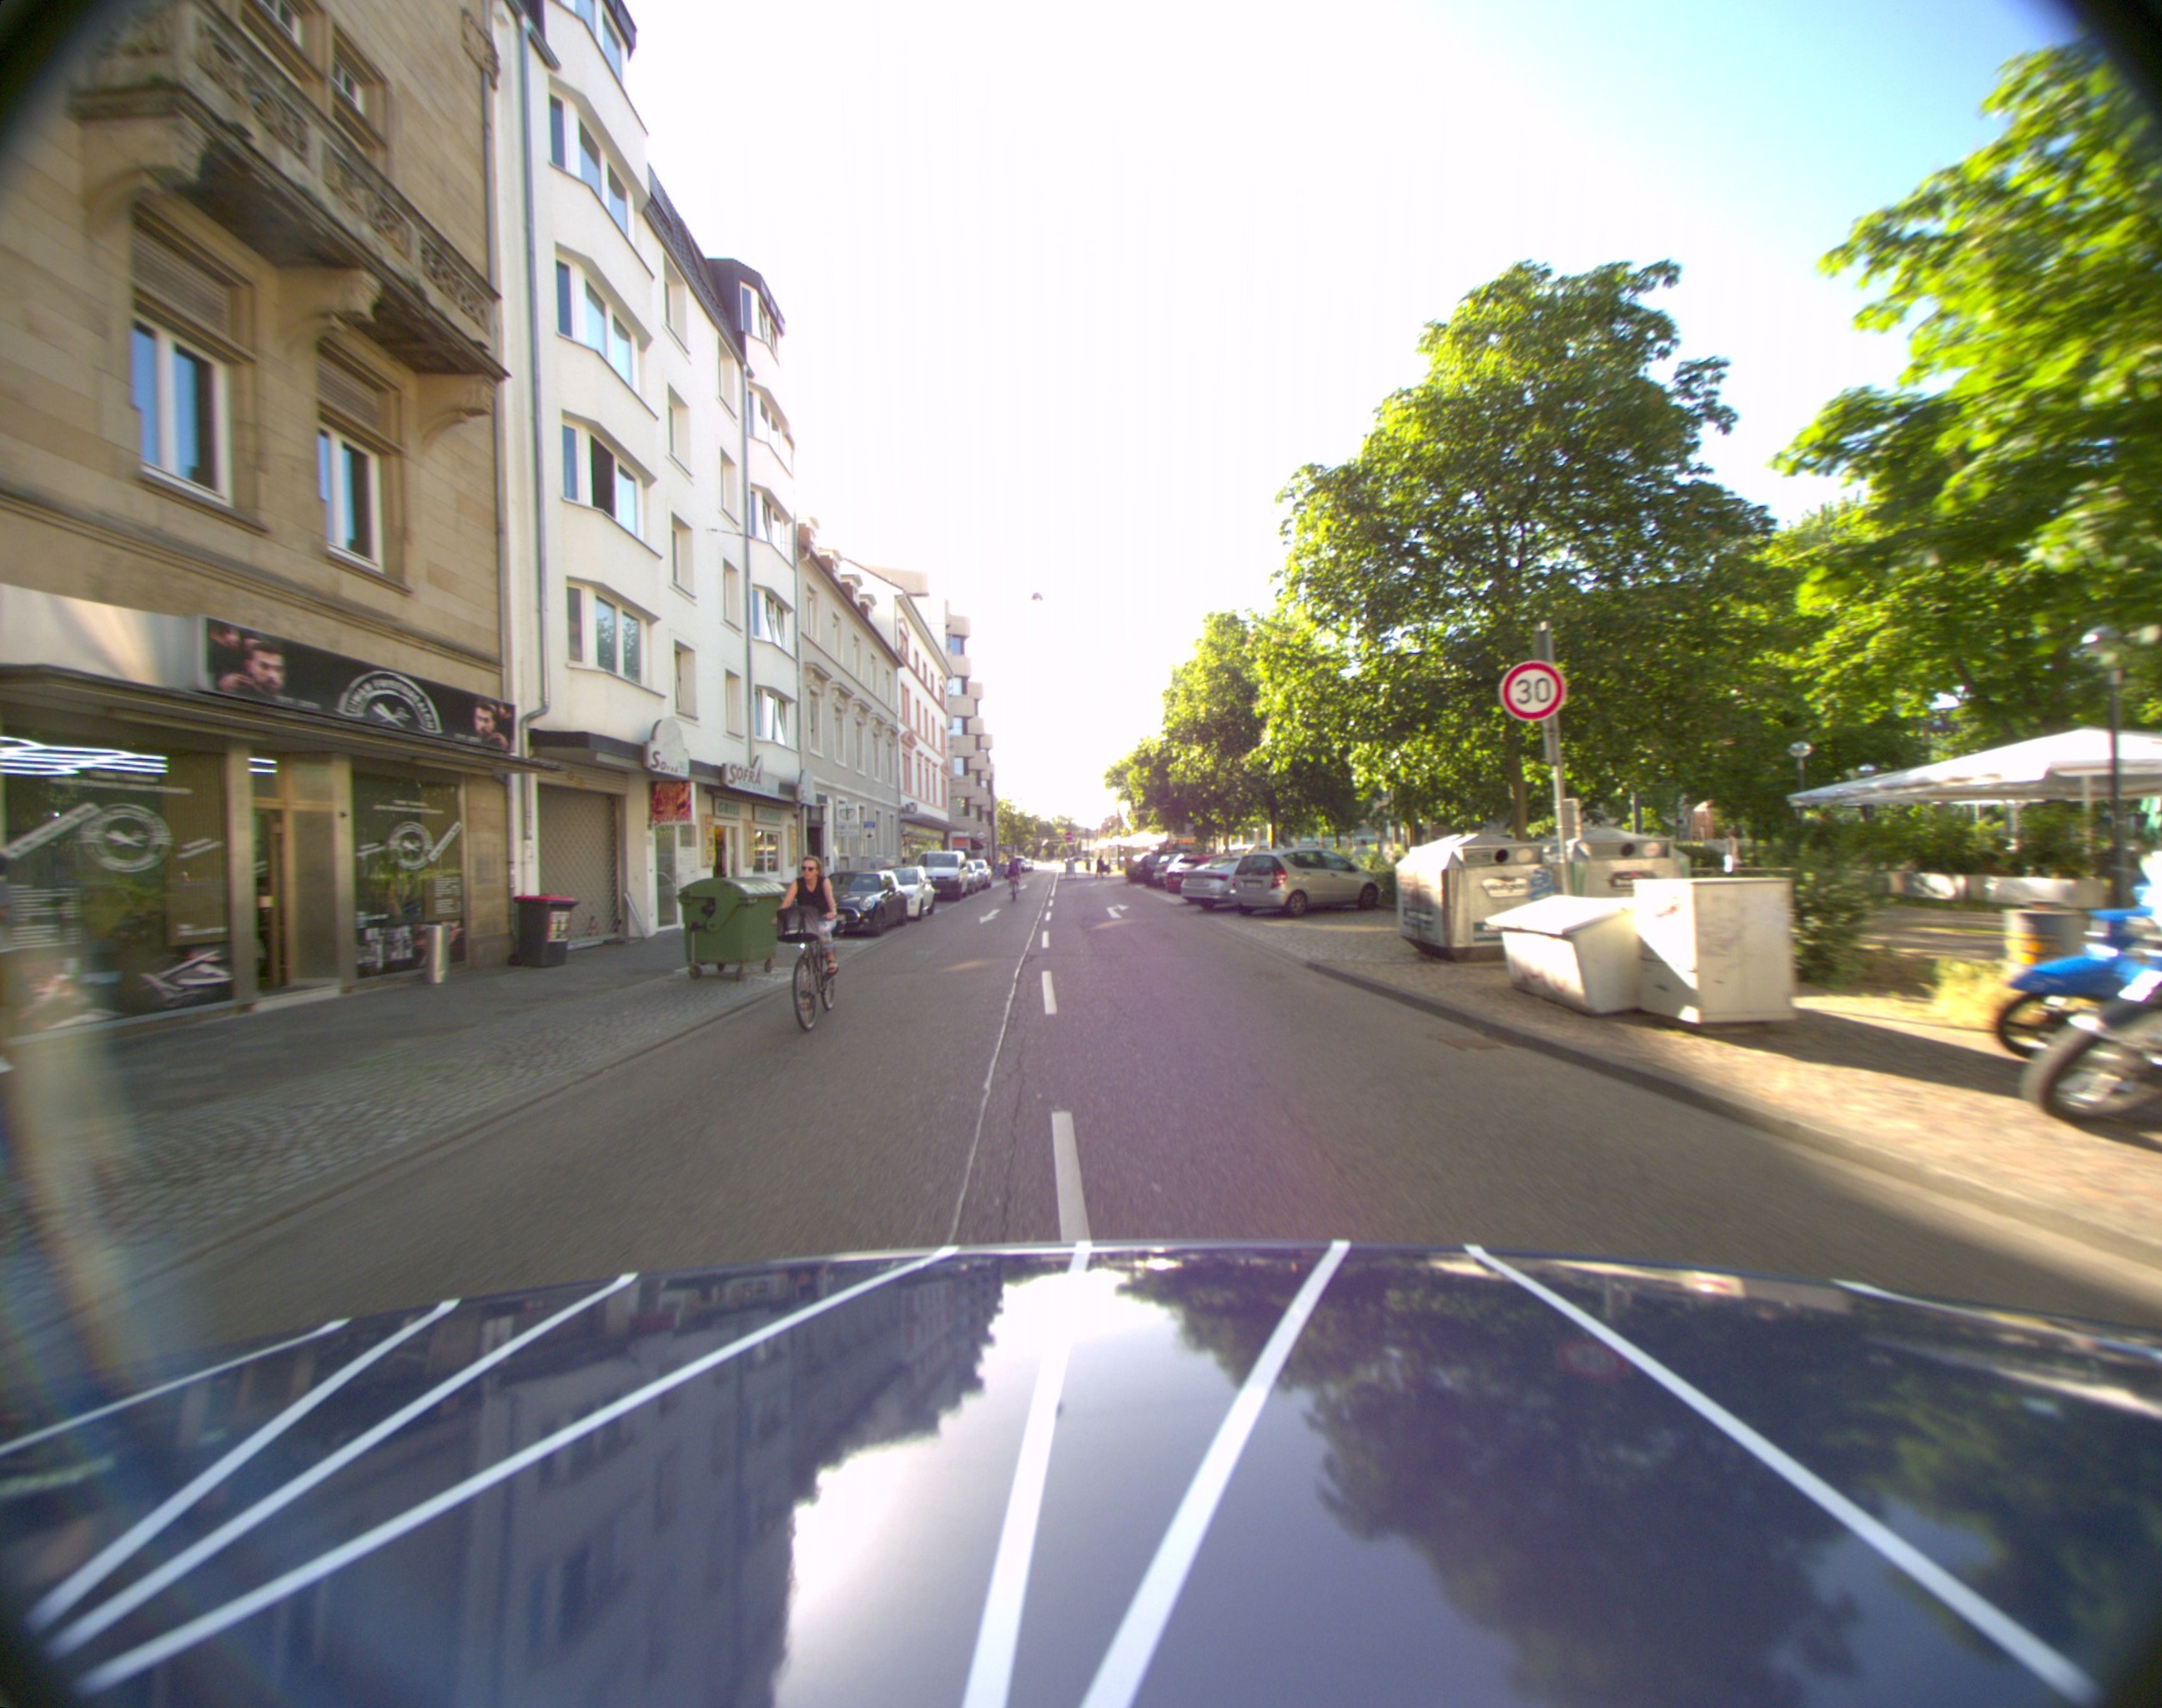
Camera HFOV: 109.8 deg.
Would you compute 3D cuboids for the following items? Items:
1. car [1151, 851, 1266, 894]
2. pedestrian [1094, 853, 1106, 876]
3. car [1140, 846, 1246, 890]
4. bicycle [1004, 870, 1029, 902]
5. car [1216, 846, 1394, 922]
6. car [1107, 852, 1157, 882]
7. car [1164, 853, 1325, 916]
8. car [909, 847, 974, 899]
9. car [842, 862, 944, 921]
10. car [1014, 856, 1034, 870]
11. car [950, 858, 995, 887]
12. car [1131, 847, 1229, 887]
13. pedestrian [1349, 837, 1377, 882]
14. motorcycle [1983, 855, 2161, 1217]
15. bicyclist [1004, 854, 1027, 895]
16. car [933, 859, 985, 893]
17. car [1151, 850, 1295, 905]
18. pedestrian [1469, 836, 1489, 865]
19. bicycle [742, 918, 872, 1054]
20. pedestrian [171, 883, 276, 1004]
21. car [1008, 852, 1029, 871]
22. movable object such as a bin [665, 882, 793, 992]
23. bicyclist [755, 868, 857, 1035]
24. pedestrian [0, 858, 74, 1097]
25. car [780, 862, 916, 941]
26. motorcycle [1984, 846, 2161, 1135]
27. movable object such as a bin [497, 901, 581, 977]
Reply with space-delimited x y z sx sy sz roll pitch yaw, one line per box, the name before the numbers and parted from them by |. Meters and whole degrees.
car | 5.006 0.697 30.049 4.002 1.465 1.997 -2 0 -14
pedestrian | 1.318 0.722 51.908 0.691 1.578 0.615 -2 1 9
car | 4.805 0.564 32.726 4.004 1.635 2.099 -2 2 -21
bicycle | -2.504 1.231 29.688 0.718 1.105 2.269 -2 1 1
car | 5.480 0.664 18.496 4.006 1.553 1.995 -2 1 -33
car | 2.866 0.681 41.695 1.772 1.421 4.005 -2 0 18
car | 4.488 0.764 20.729 4.006 1.433 1.995 -2 1 -33
car | -5.603 0.689 31.165 1.999 1.942 5.099 1 0 -3
car | -5.252 1.000 21.814 1.999 1.482 3.999 1 0 -1
car | -6.793 1.031 91.200 1.998 1.494 4.000 -2 0 1
car | -5.804 0.942 41.137 1.999 1.444 3.954 1 0 -3
car | 4.581 0.576 35.401 4.003 1.684 1.997 -2 1 -21
pedestrian | 7.993 0.155 21.528 0.521 1.250 0.525 -2 1 -35
motorcycle | 5.537 0.707 3.006 2.316 1.415 1.002 -2 1 26
bicyclist | -2.522 0.782 29.300 0.718 1.553 0.864 -2 1 1
car | -5.777 1.011 36.286 1.999 1.444 3.868 1 0 -3
car | 4.461 0.702 23.833 4.005 1.465 1.996 -2 1 -27
pedestrian | 17.169 -0.150 32.772 0.527 1.250 0.519 -1 1 -19
bicycle | -2.759 1.283 7.870 0.666 1.061 1.836 -2 0 -1
pedestrian | -10.917 1.093 9.681 0.693 1.415 0.817 1 1 35
car | -6.911 0.830 84.282 1.999 2.002 3.999 -2 0 -1
movable object such as a bin | -5.066 1.152 11.053 1.147 1.413 1.411 1 1 2
bicyclist | -2.771 0.946 7.745 0.658 1.562 0.909 -2 1 -1
pedestrian | -8.162 0.907 5.615 0.536 1.732 0.598 -2 1 -6
car | -5.240 0.997 17.677 1.999 1.565 3.999 1 0 -1
motorcycle | 6.109 0.663 3.867 1.750 1.415 0.831 -2 1 25
movable object such as a bin | -8.077 1.252 11.350 0.725 1.042 0.664 2 -1 8
